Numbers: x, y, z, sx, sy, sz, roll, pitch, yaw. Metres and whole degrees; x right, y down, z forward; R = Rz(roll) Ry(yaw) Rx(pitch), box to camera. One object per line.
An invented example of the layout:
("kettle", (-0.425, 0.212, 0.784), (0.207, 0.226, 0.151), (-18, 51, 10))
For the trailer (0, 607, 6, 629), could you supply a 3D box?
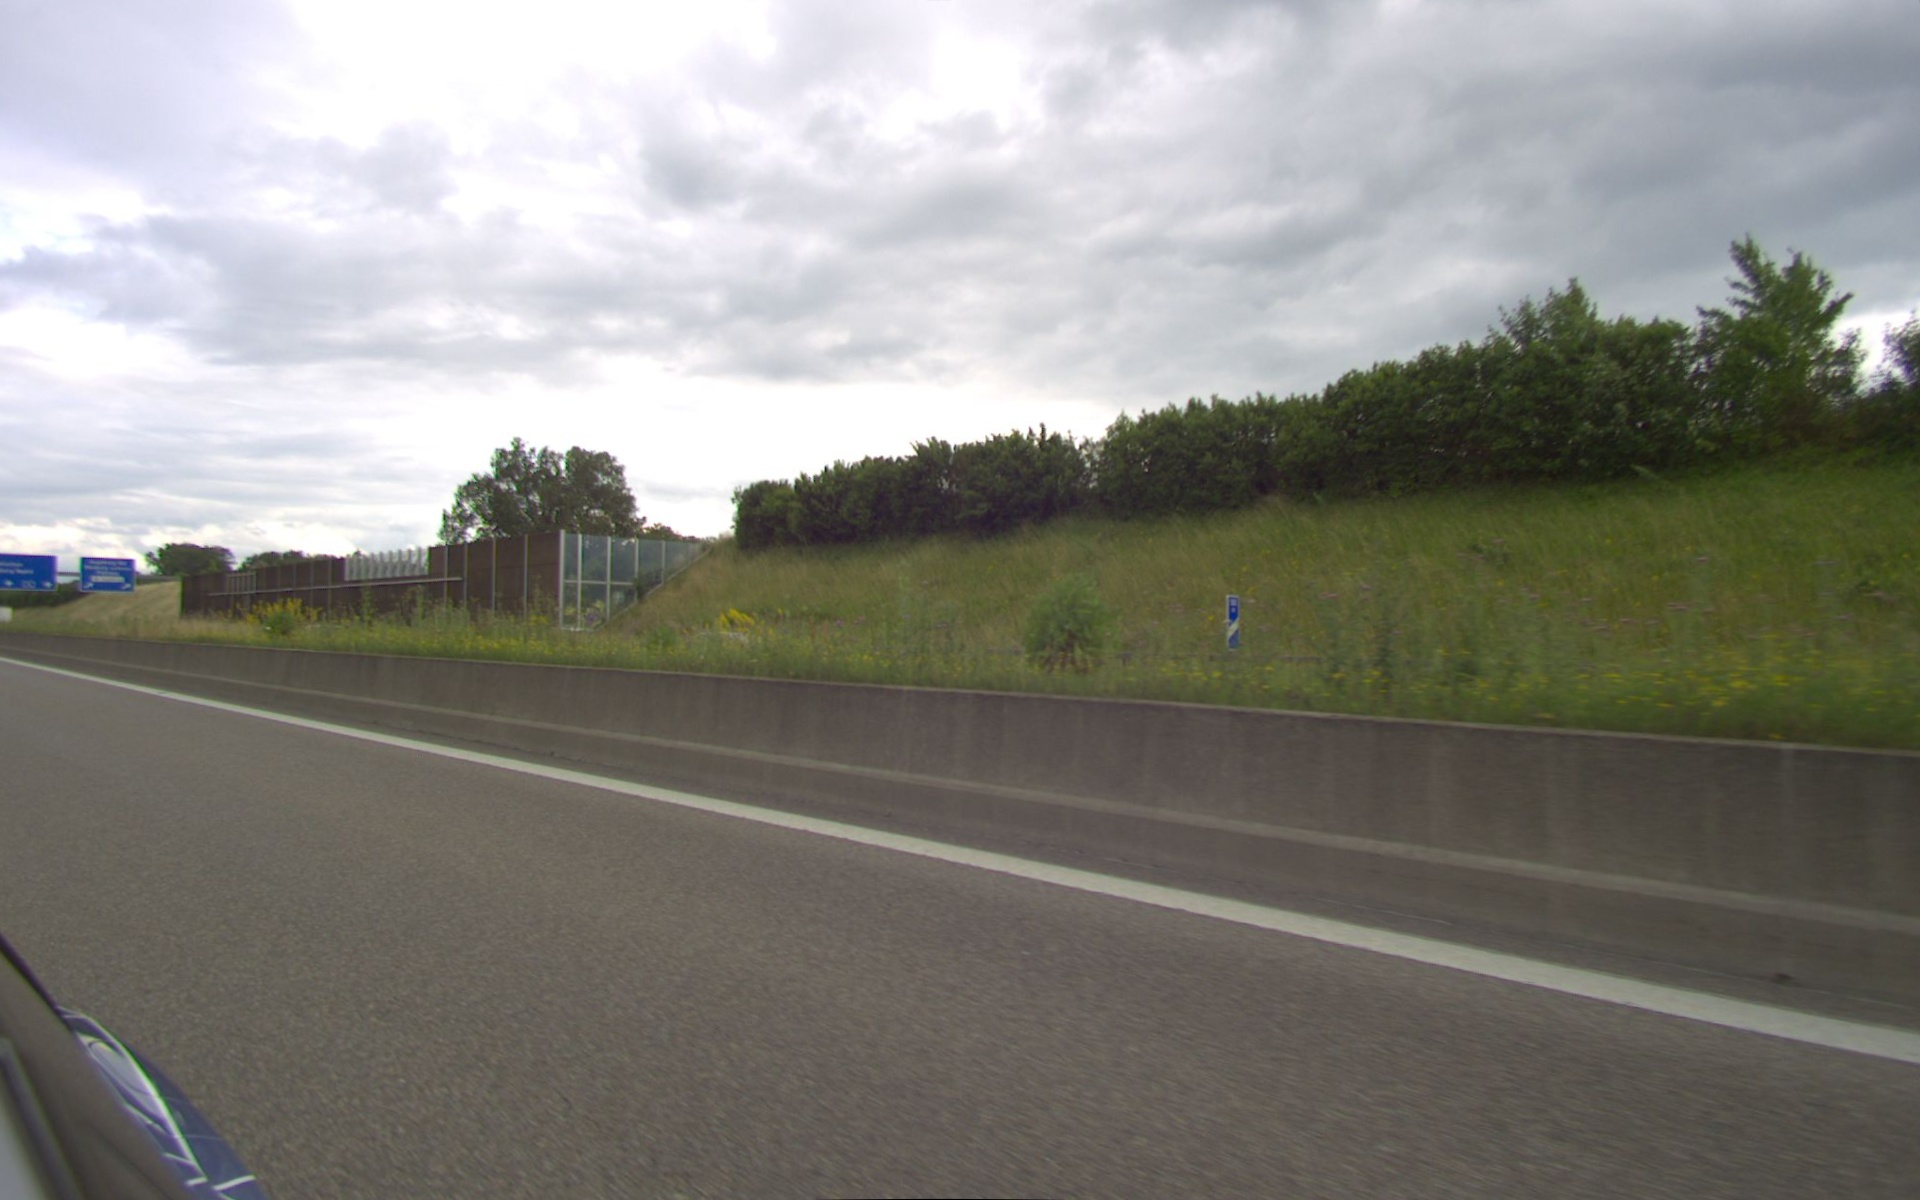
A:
("trailer", (-155.594, 2.851, 162.098), (13.503, 3.402, 2.790), (-1, -2, 41))
